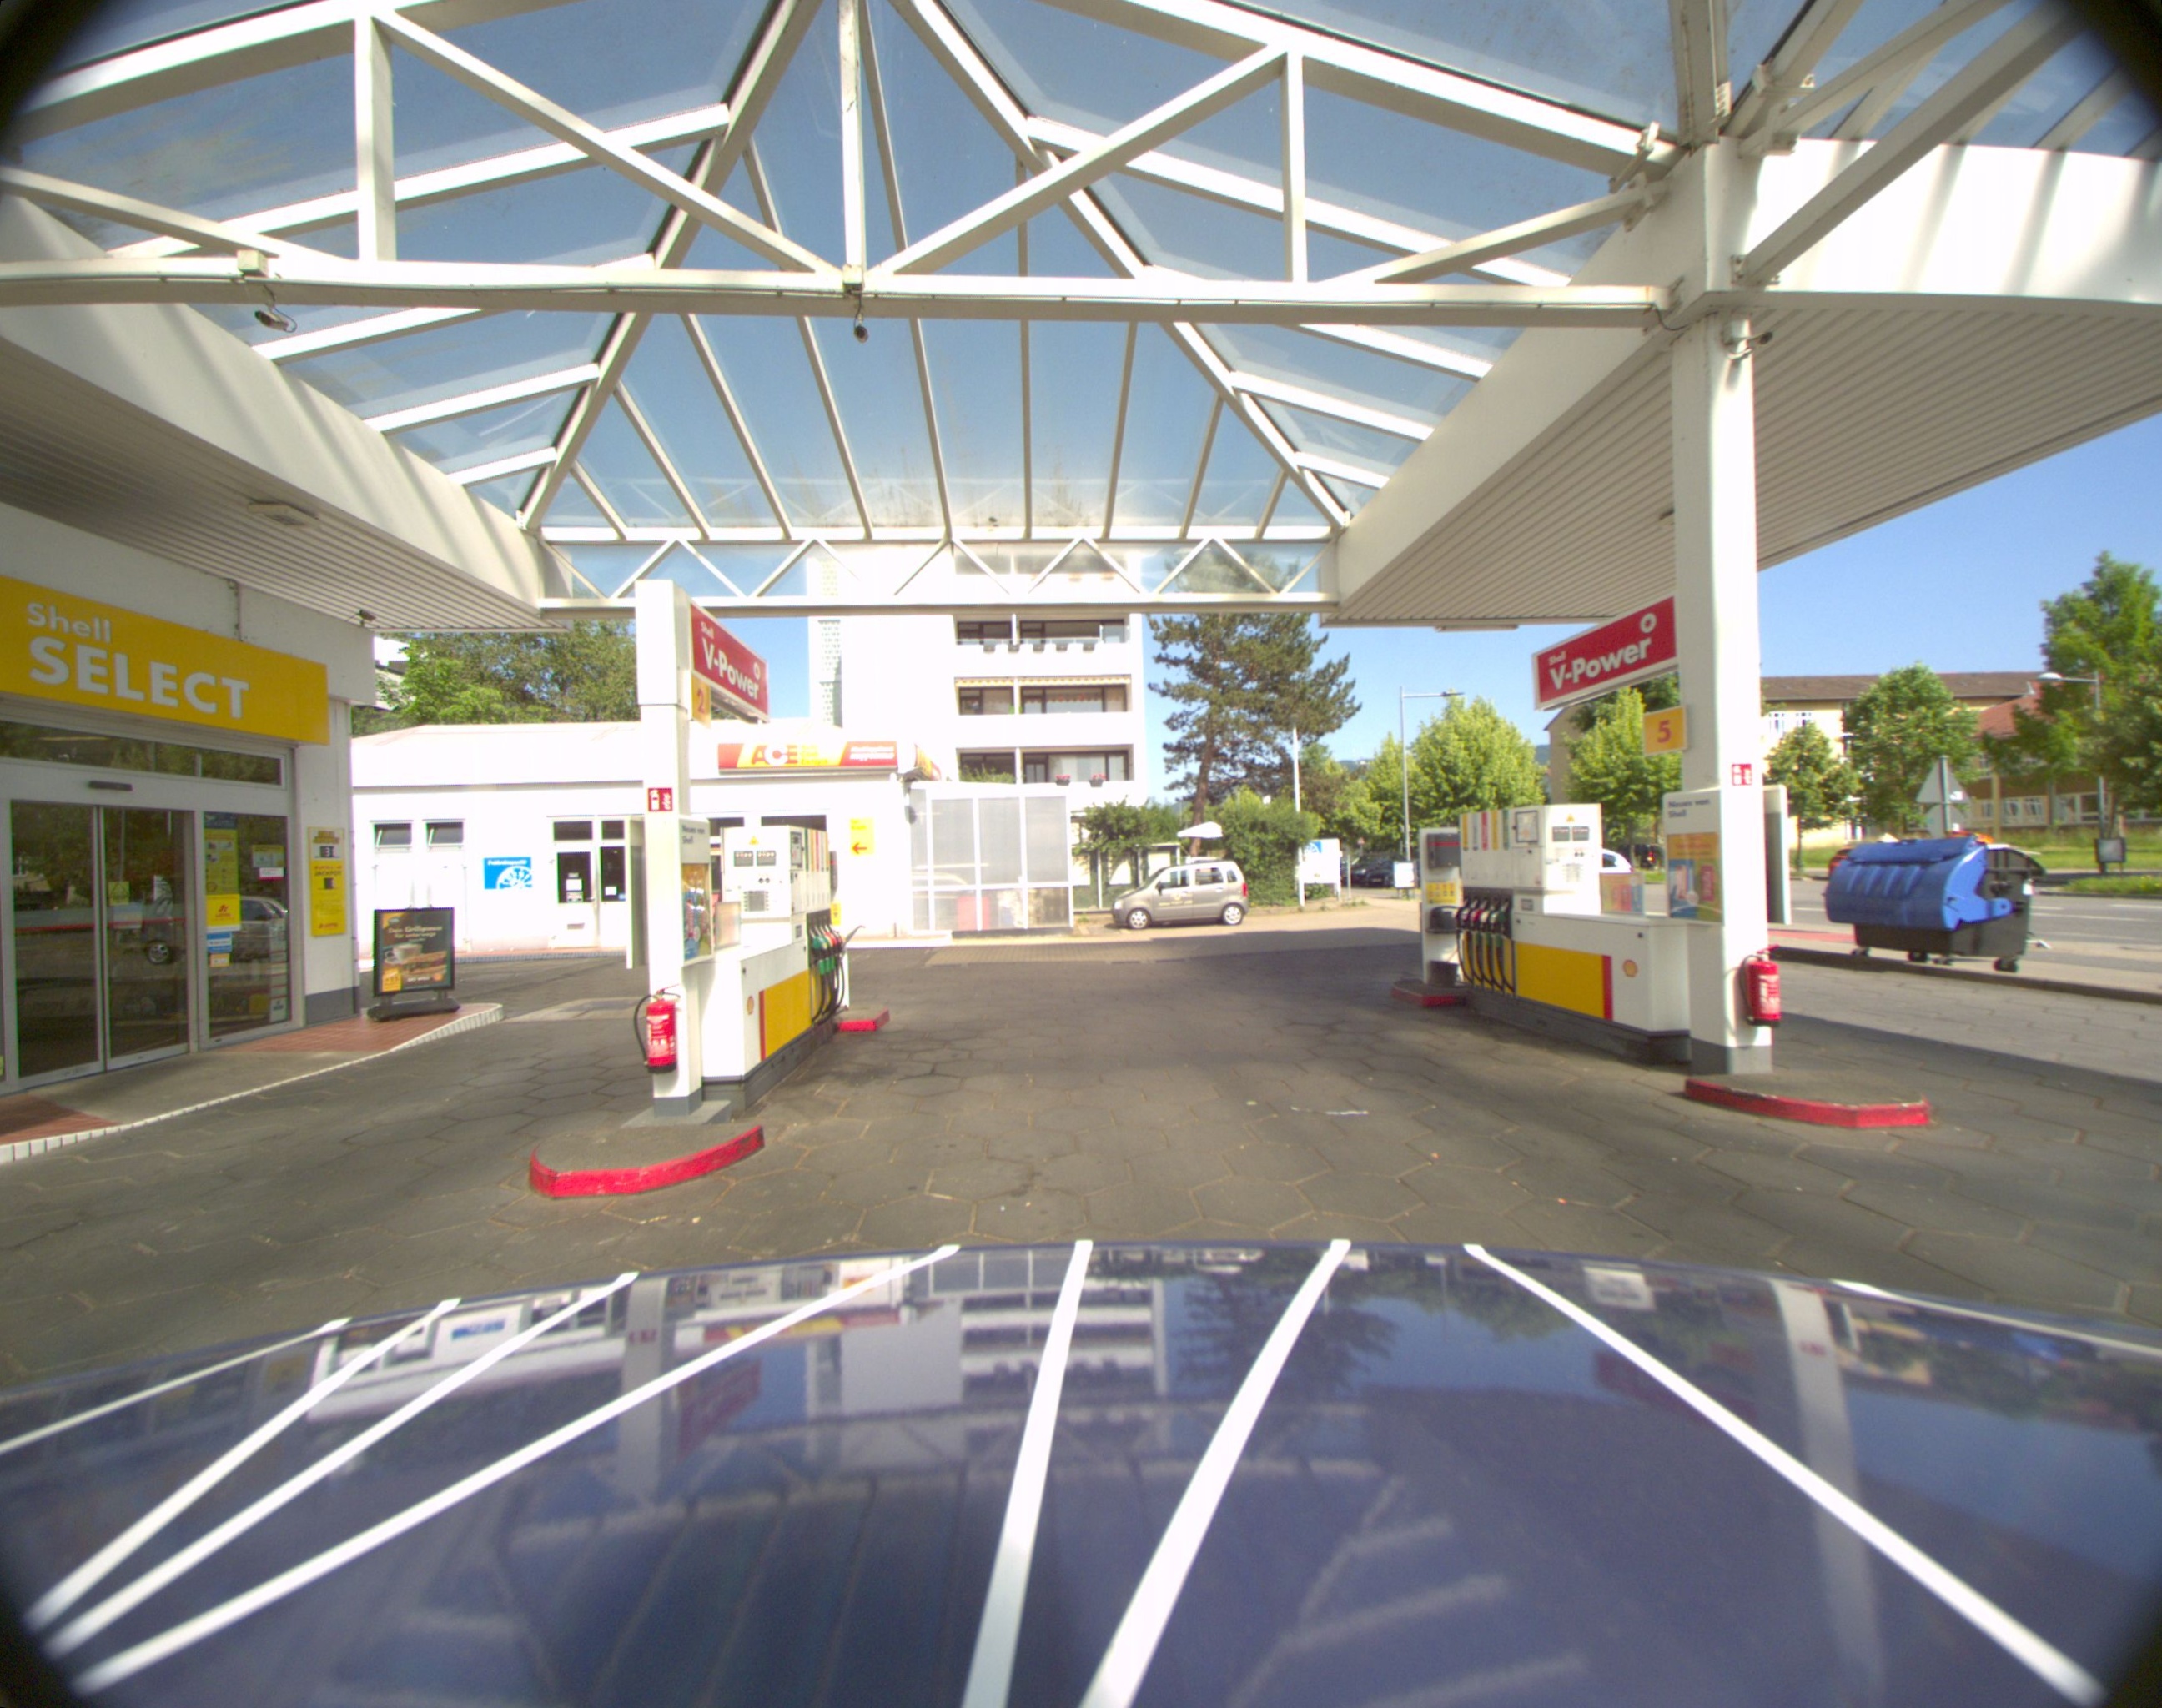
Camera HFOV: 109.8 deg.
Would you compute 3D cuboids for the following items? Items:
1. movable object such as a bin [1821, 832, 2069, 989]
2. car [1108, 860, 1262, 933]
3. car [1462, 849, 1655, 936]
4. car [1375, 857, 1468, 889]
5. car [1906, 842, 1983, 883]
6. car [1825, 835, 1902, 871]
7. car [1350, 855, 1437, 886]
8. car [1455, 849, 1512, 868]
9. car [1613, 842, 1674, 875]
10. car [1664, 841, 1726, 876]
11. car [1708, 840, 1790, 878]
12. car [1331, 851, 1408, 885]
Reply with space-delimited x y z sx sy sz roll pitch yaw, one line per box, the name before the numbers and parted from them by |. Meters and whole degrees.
movable object such as a bin | 9.920 0.607 8.815 1.342 1.678 1.337 1 0 -2
car | 2.626 1.067 19.762 3.660 1.607 1.692 -3 0 -2
car | 10.921 0.801 17.325 4.314 1.696 1.957 -1 -1 -31
car | 15.934 0.842 35.521 4.233 1.408 1.877 0 0 -30
car | 32.910 0.315 28.929 4.234 1.451 1.737 0 0 -39
car | 33.243 -0.044 32.240 4.234 1.451 1.876 0 1 -39
car | 15.840 0.815 38.459 4.232 1.473 1.877 0 0 -30
car | 31.013 0.332 58.592 3.730 1.383 1.878 0 0 -22
car | 30.708 0.209 41.457 4.235 1.712 1.876 0 0 -42
car | 32.143 0.217 39.749 4.235 1.712 1.876 0 0 -42
car | 32.404 0.225 36.836 4.233 1.712 1.876 0 1 -32
car | 15.545 0.697 40.877 4.411 1.710 1.700 -1 0 -35
